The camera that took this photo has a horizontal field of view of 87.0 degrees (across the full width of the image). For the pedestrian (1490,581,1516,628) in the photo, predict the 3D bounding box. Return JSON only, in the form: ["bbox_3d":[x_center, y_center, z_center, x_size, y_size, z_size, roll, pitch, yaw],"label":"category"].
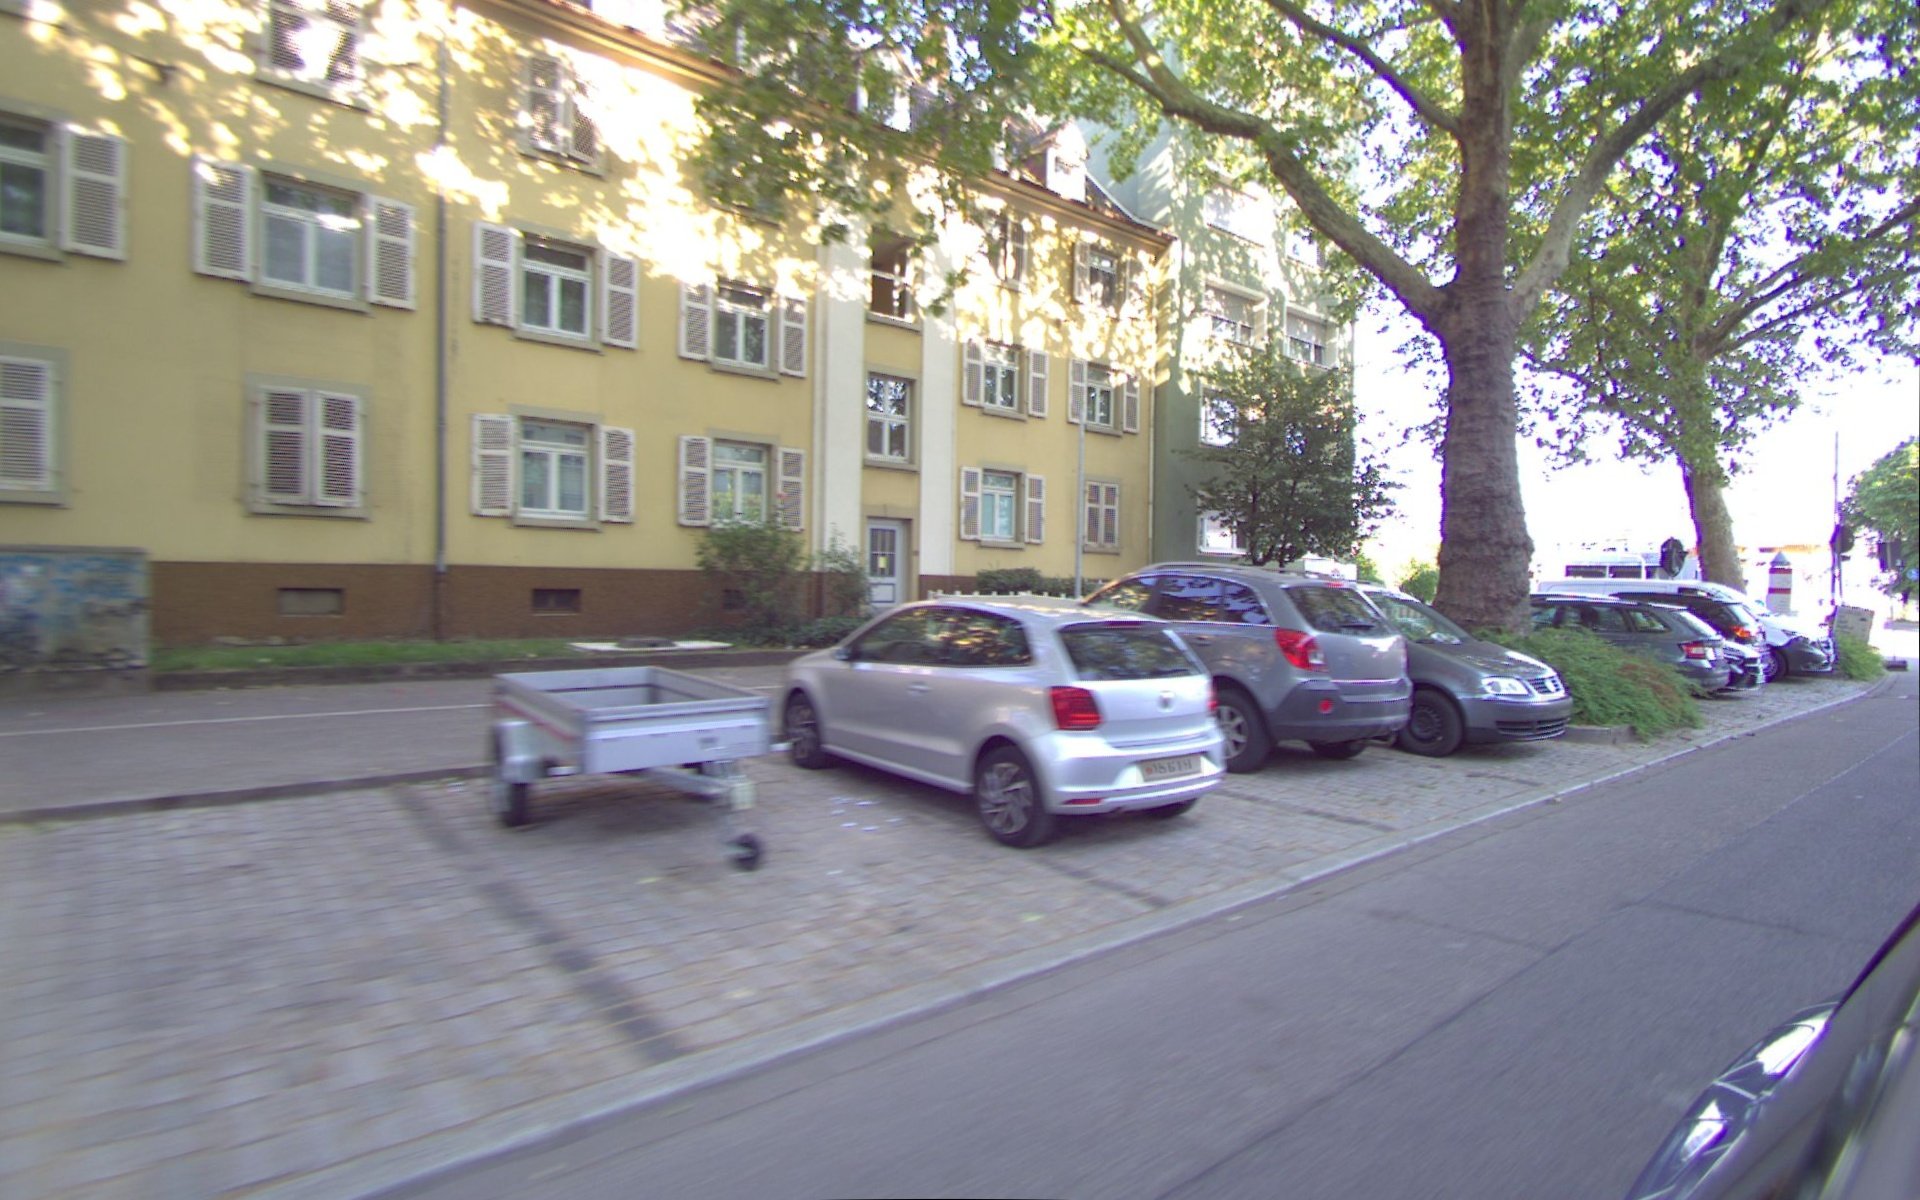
[{"bbox_3d":[19.486,0.156,36.328,0.677,1.652,0.640,0,0,13],"label":"pedestrian"}]

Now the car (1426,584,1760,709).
[{"bbox_3d":[9.291,0.571,15.078,1.712,1.516,3.886,0,2,-43],"label":"car"}]

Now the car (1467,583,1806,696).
[{"bbox_3d":[11.200,0.559,17.047,1.785,1.542,4.410,0,2,-39],"label":"car"}]

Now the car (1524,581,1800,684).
[{"bbox_3d":[12.955,0.513,18.853,1.764,1.625,3.882,0,2,-40],"label":"car"}]

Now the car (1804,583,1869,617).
[{"bbox_3d":[40.992,0.022,47.310,3.506,1.455,1.640,1,-3,-38],"label":"car"}]

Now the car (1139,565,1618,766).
[{"bbox_3d":[4.295,0.497,10.999,1.875,1.678,4.433,-1,2,-41],"label":"car"}]

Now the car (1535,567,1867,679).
[{"bbox_3d":[14.808,0.331,20.530,1.881,1.878,5.124,-1,3,-40],"label":"car"}]

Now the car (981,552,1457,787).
[{"bbox_3d":[2.246,0.447,9.908,1.806,1.753,4.323,1,2,-36],"label":"car"}]

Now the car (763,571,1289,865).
[{"bbox_3d":[0.260,0.596,7.423,1.832,1.441,3.662,0,3,-39],"label":"car"}]

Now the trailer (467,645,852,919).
[{"bbox_3d":[-1.989,0.877,6.123,1.409,0.914,3.052,0,3,-33],"label":"trailer"}]
